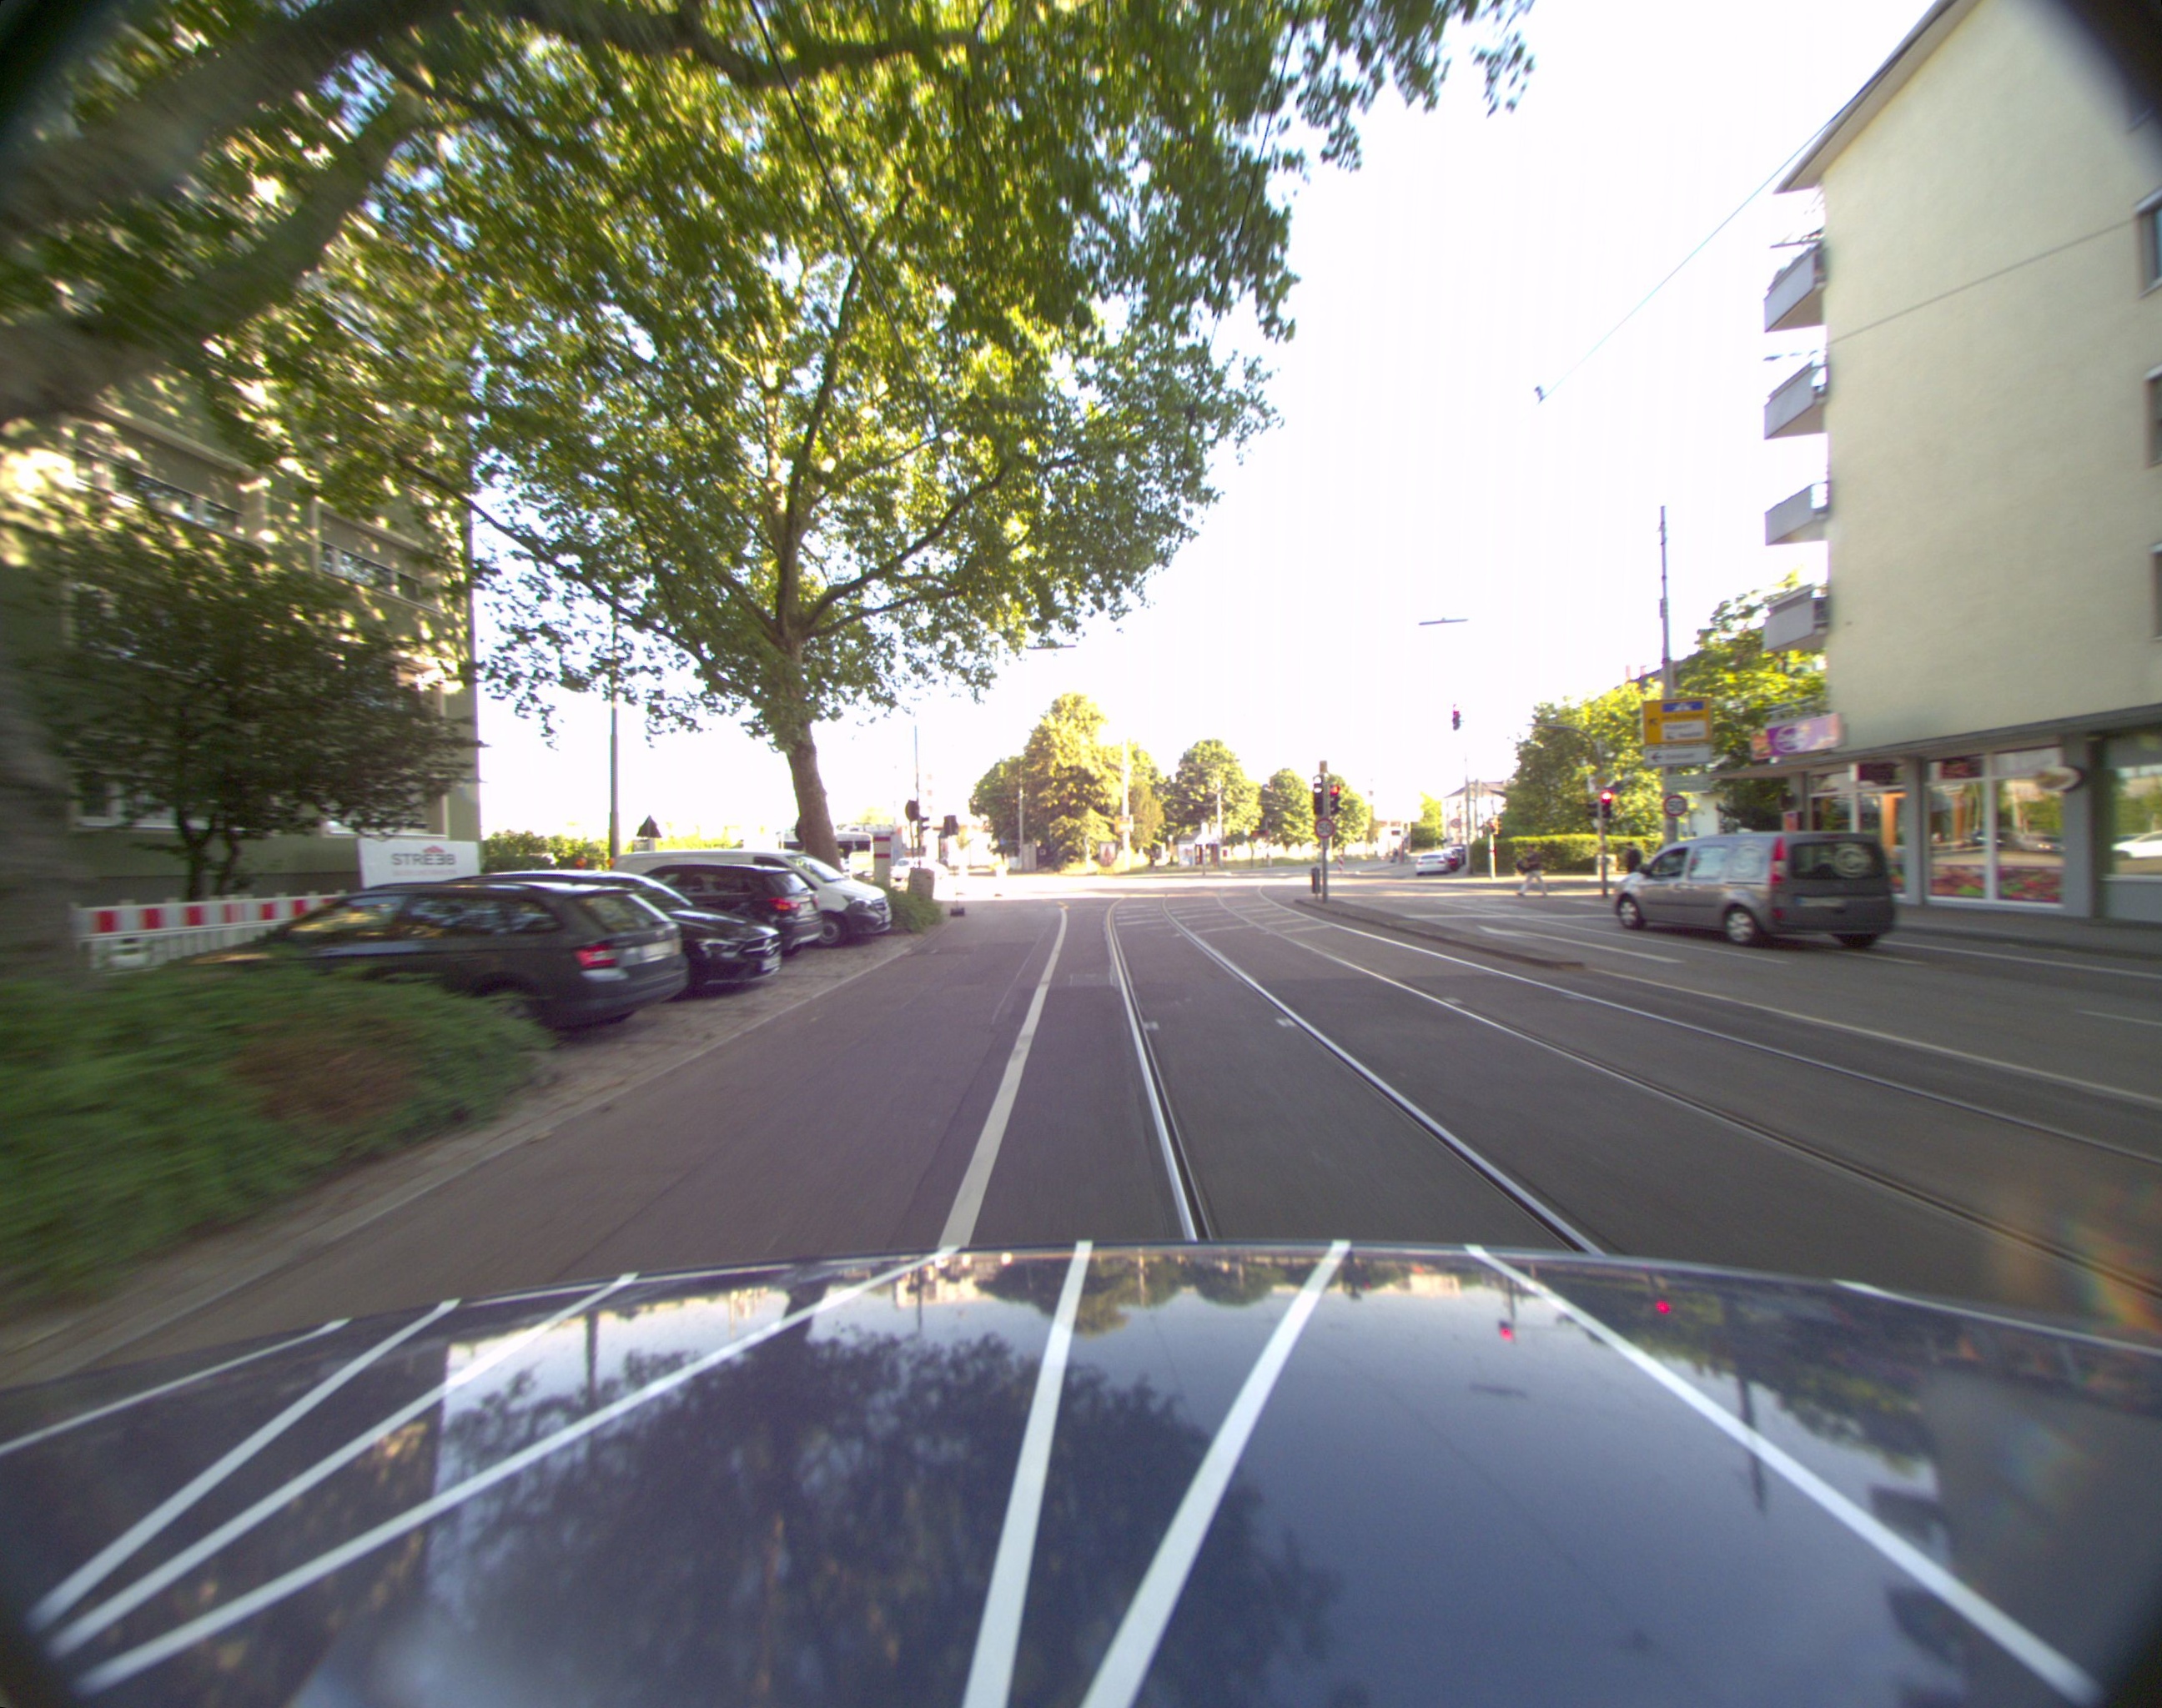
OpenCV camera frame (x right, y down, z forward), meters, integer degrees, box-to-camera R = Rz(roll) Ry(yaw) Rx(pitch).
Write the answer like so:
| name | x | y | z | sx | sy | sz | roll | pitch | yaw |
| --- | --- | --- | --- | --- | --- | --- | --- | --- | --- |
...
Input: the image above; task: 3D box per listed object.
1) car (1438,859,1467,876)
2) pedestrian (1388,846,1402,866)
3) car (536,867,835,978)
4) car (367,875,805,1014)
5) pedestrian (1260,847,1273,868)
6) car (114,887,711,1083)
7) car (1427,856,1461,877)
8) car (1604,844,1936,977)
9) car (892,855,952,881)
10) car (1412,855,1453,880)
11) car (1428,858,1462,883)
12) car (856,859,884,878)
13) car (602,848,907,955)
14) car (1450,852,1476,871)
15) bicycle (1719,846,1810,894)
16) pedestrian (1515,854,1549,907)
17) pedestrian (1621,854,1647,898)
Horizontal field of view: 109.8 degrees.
| name | x | y | z | sx | sy | sz | roll | pitch | yaw |
| --- | --- | --- | --- | --- | --- | --- | --- | --- | --- |
| car | 32.181 | 1.148 | 65.734 | 1.814 | 1.419 | 3.748 | -3 | -1 | 32 |
| pedestrian | 32.459 | 0.201 | 78.651 | 1.001 | 2.002 | 0.876 | -1 | 1 | -20 |
| car | -6.222 | 1.039 | 12.286 | 3.884 | 1.596 | 1.796 | 1 | 0 | 0 |
| car | -6.065 | 1.074 | 9.698 | 4.410 | 1.514 | 1.818 | 1 | 0 | 1 |
| pedestrian | 17.350 | 0.339 | 71.154 | 0.913 | 2.002 | 0.860 | -1 | 0 | -4 |
| car | -5.784 | 1.101 | 6.993 | 3.891 | 1.488 | 1.741 | 1 | 0 | -2 |
| car | 24.479 | 0.837 | 51.152 | 1.637 | 1.315 | 3.345 | -3 | -1 | 32 |
| car | 10.991 | 0.781 | 12.641 | 1.997 | 1.821 | 4.226 | -1 | 0 | 6 |
| car | -9.963 | 0.876 | 47.882 | 1.638 | 1.427 | 3.579 | -4 | -1 | 31 |
| car | 21.805 | 0.813 | 47.100 | 1.814 | 1.419 | 3.748 | -3 | -1 | 32 |
| car | 27.340 | 1.223 | 57.070 | 1.814 | 1.684 | 3.989 | -3 | -1 | 32 |
| car | -16.893 | 1.130 | 60.825 | 1.644 | 1.390 | 3.332 | -1 | 0 | -25 |
| car | -6.200 | 0.865 | 14.855 | 5.126 | 1.845 | 1.914 | 1 | 1 | 0 |
| car | 35.383 | 0.685 | 70.367 | 1.814 | 1.570 | 3.748 | -3 | -1 | 32 |
| bicycle | 23.107 | 0.520 | 25.773 | 0.845 | 1.535 | 2.517 | -1 | 0 | 1 |
| pedestrian | 14.322 | 0.834 | 24.165 | 0.753 | 1.670 | 0.794 | 0 | 1 | 15 |
| pedestrian | 20.015 | 0.793 | 27.504 | 0.472 | 1.568 | 0.545 | -2 | 1 | 1 |
